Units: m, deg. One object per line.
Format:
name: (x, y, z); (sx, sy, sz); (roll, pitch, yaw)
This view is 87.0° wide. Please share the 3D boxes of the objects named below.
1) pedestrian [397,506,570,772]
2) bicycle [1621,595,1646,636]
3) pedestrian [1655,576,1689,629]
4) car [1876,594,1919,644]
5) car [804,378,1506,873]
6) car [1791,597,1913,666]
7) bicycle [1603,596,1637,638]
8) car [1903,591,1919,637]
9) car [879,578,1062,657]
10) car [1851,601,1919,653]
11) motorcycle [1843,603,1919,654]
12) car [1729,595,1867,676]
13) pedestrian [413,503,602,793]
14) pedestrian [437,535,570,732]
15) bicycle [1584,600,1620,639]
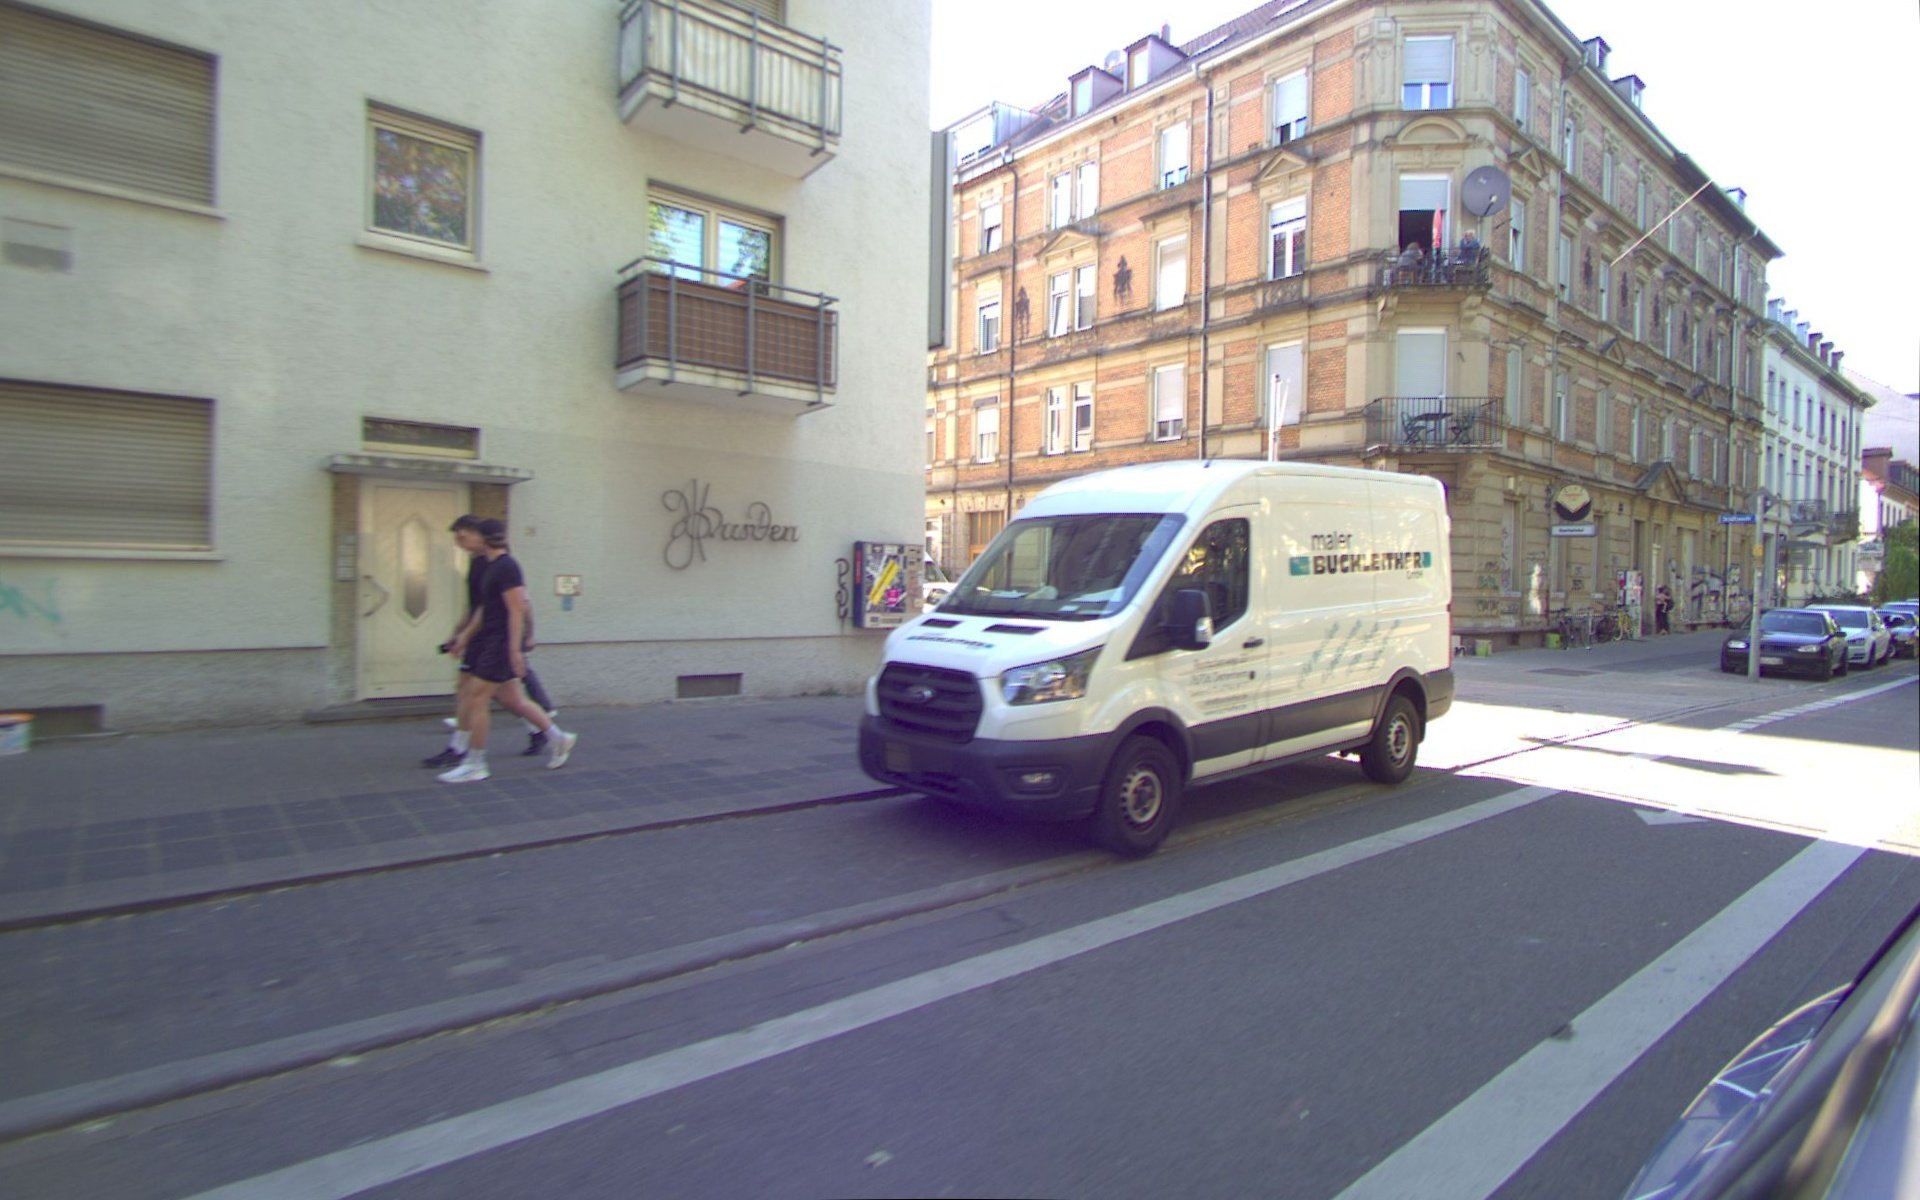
pedestrian: (-3.564, 0.249, 7.583); (1.062, 1.845, 0.627); (-1, 3, -38)
bicycle: (19.605, 0.443, 29.456); (1.118, 1.168, 0.274); (0, 1, -38)
pedestrian: (23.262, 0.074, 33.066); (0.753, 1.677, 0.716); (0, 1, -41)
car: (30.393, 0.584, 31.899); (3.673, 1.469, 1.611); (0, 3, -39)
car: (1.917, 0.088, 7.940); (5.981, 2.526, 2.153); (0, 1, -41)
car: (21.714, 0.703, 24.587); (3.942, 1.438, 1.606); (0, 4, -40)
bicycle: (18.659, 0.466, 28.602); (1.347, 1.168, 0.379); (0, 1, -38)
car: (34.242, 0.501, 35.330); (2.770, 1.561, 1.514); (0, 3, -40)
car: (0.130, 0.293, 21.640); (1.758, 1.473, 4.035); (0, 2, -38)
car: (26.753, 0.729, 28.713); (3.659, 1.288, 1.653); (-1, 4, -41)
motorcycle: (24.771, 0.748, 26.681); (2.122, 1.305, 0.636); (1, 1, 29)
car: (17.628, 0.663, 21.227); (3.991, 1.438, 1.652); (-1, 4, -43)
pedestrian: (-3.142, 0.284, 7.034); (1.062, 1.845, 0.711); (-1, 3, -38)
pedestrian: (-4.028, 0.263, 8.921); (0.916, 1.598, 0.634); (-1, 7, -38)
bicycle: (17.460, 0.525, 27.505); (1.347, 1.013, 0.379); (0, 1, -38)
